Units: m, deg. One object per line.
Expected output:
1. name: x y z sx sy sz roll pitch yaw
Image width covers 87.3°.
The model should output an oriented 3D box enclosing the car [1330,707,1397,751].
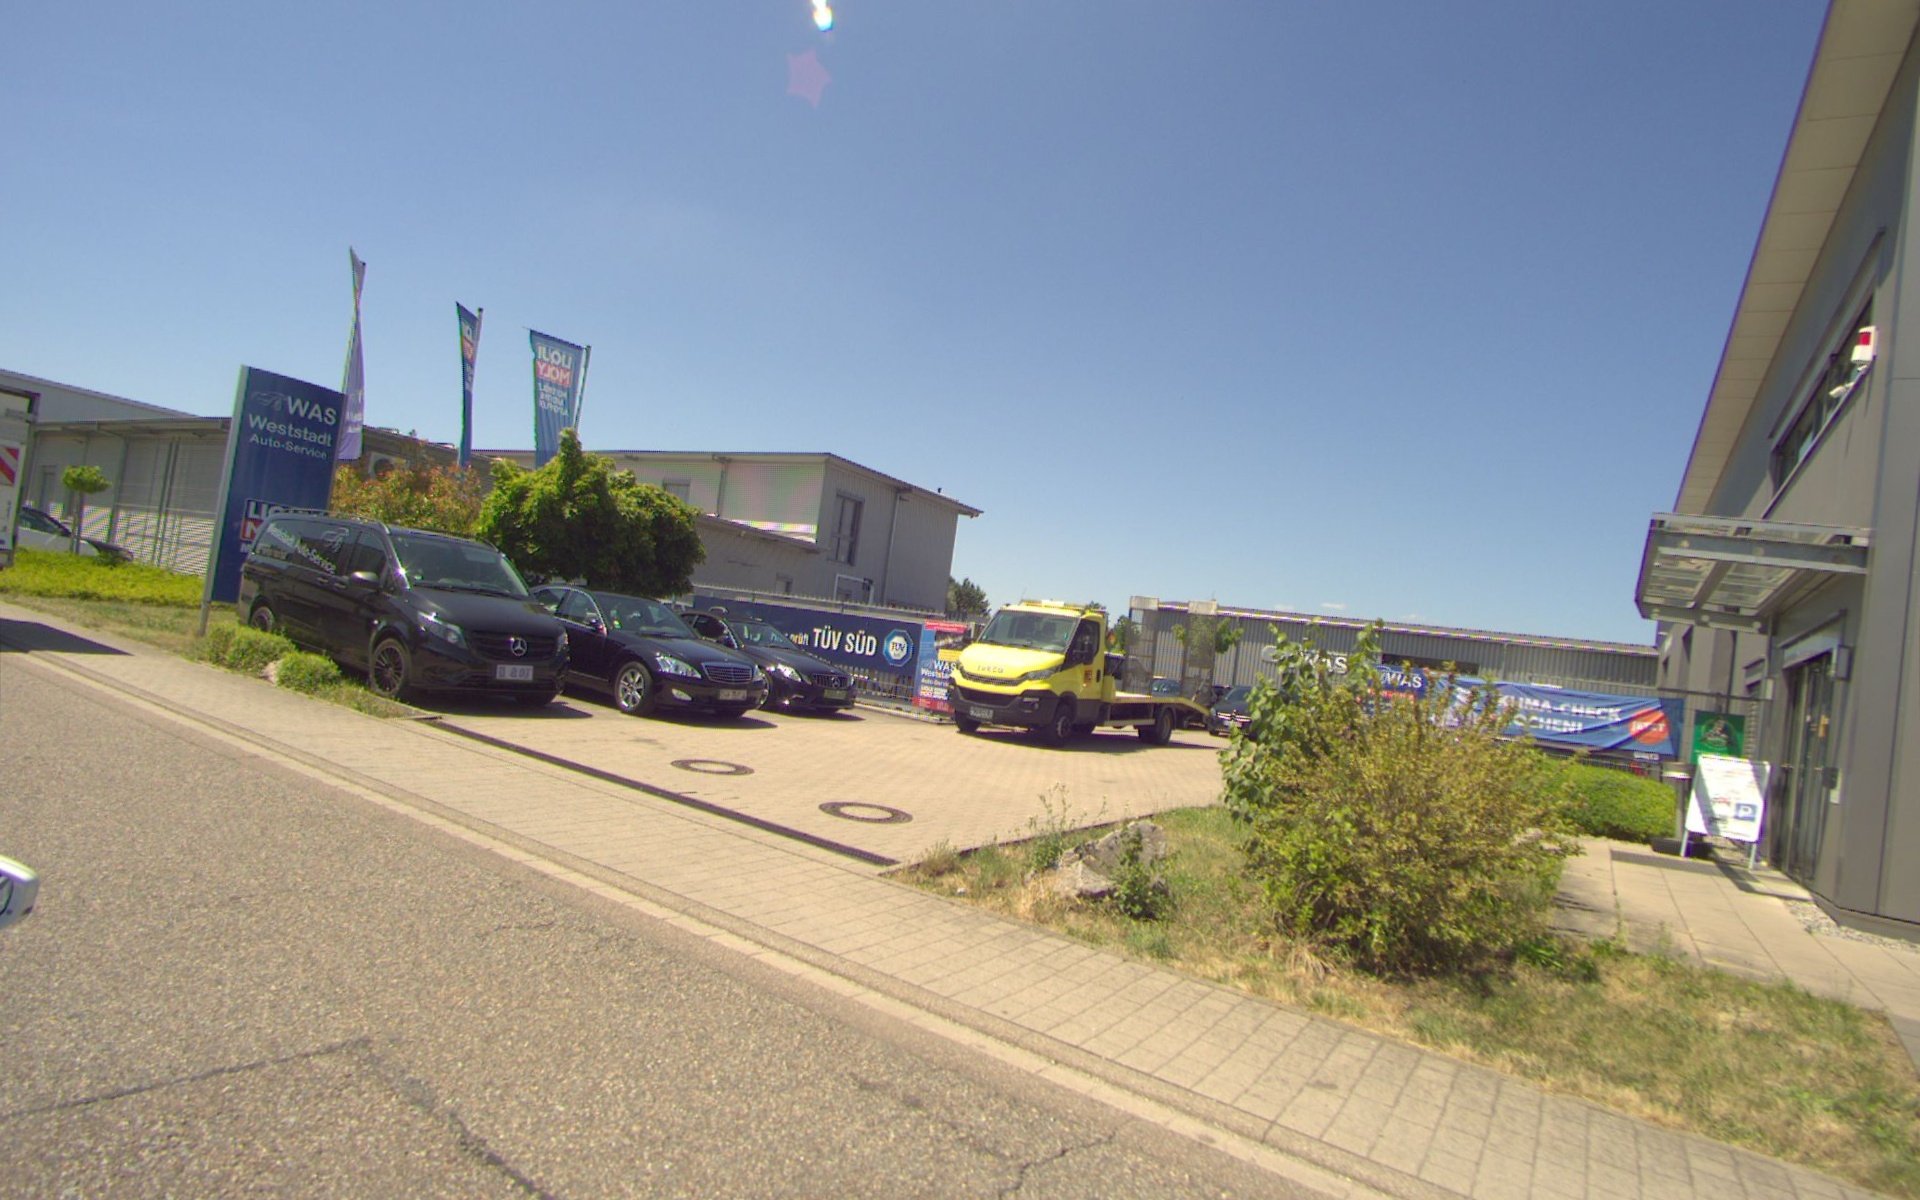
1. car: 16.860 5.403 41.945 1.695 1.432 3.912 6 -5 34

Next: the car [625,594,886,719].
1. car: -3.447 0.906 16.708 4.049 1.386 1.805 8 -2 34

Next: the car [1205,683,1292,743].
1. car: 8.570 3.382 29.710 1.692 1.432 3.919 6 -4 26

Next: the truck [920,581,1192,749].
1. truck: 1.997 1.296 18.293 2.146 2.397 5.942 6 -3 34

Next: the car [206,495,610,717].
1. car: -6.926 -0.001 12.399 5.251 2.036 1.997 6 -3 34

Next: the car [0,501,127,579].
1. car: -23.349 -1.601 24.931 1.883 1.558 3.697 6 -3 35

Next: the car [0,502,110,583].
1. car: -21.623 -1.396 23.186 1.390 1.558 2.710 6 -2 35

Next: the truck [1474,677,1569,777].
1. truck: 21.795 4.983 38.877 2.321 3.278 6.264 6 -4 35

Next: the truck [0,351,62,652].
1. truck: -13.796 -1.493 12.237 6.774 3.240 2.462 6 -3 35

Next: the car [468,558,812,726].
1. car: -4.471 0.542 13.824 4.516 1.554 1.997 8 -2 34

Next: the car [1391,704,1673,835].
1. car: 8.704 2.506 15.440 3.514 1.320 1.587 5 -2 35
